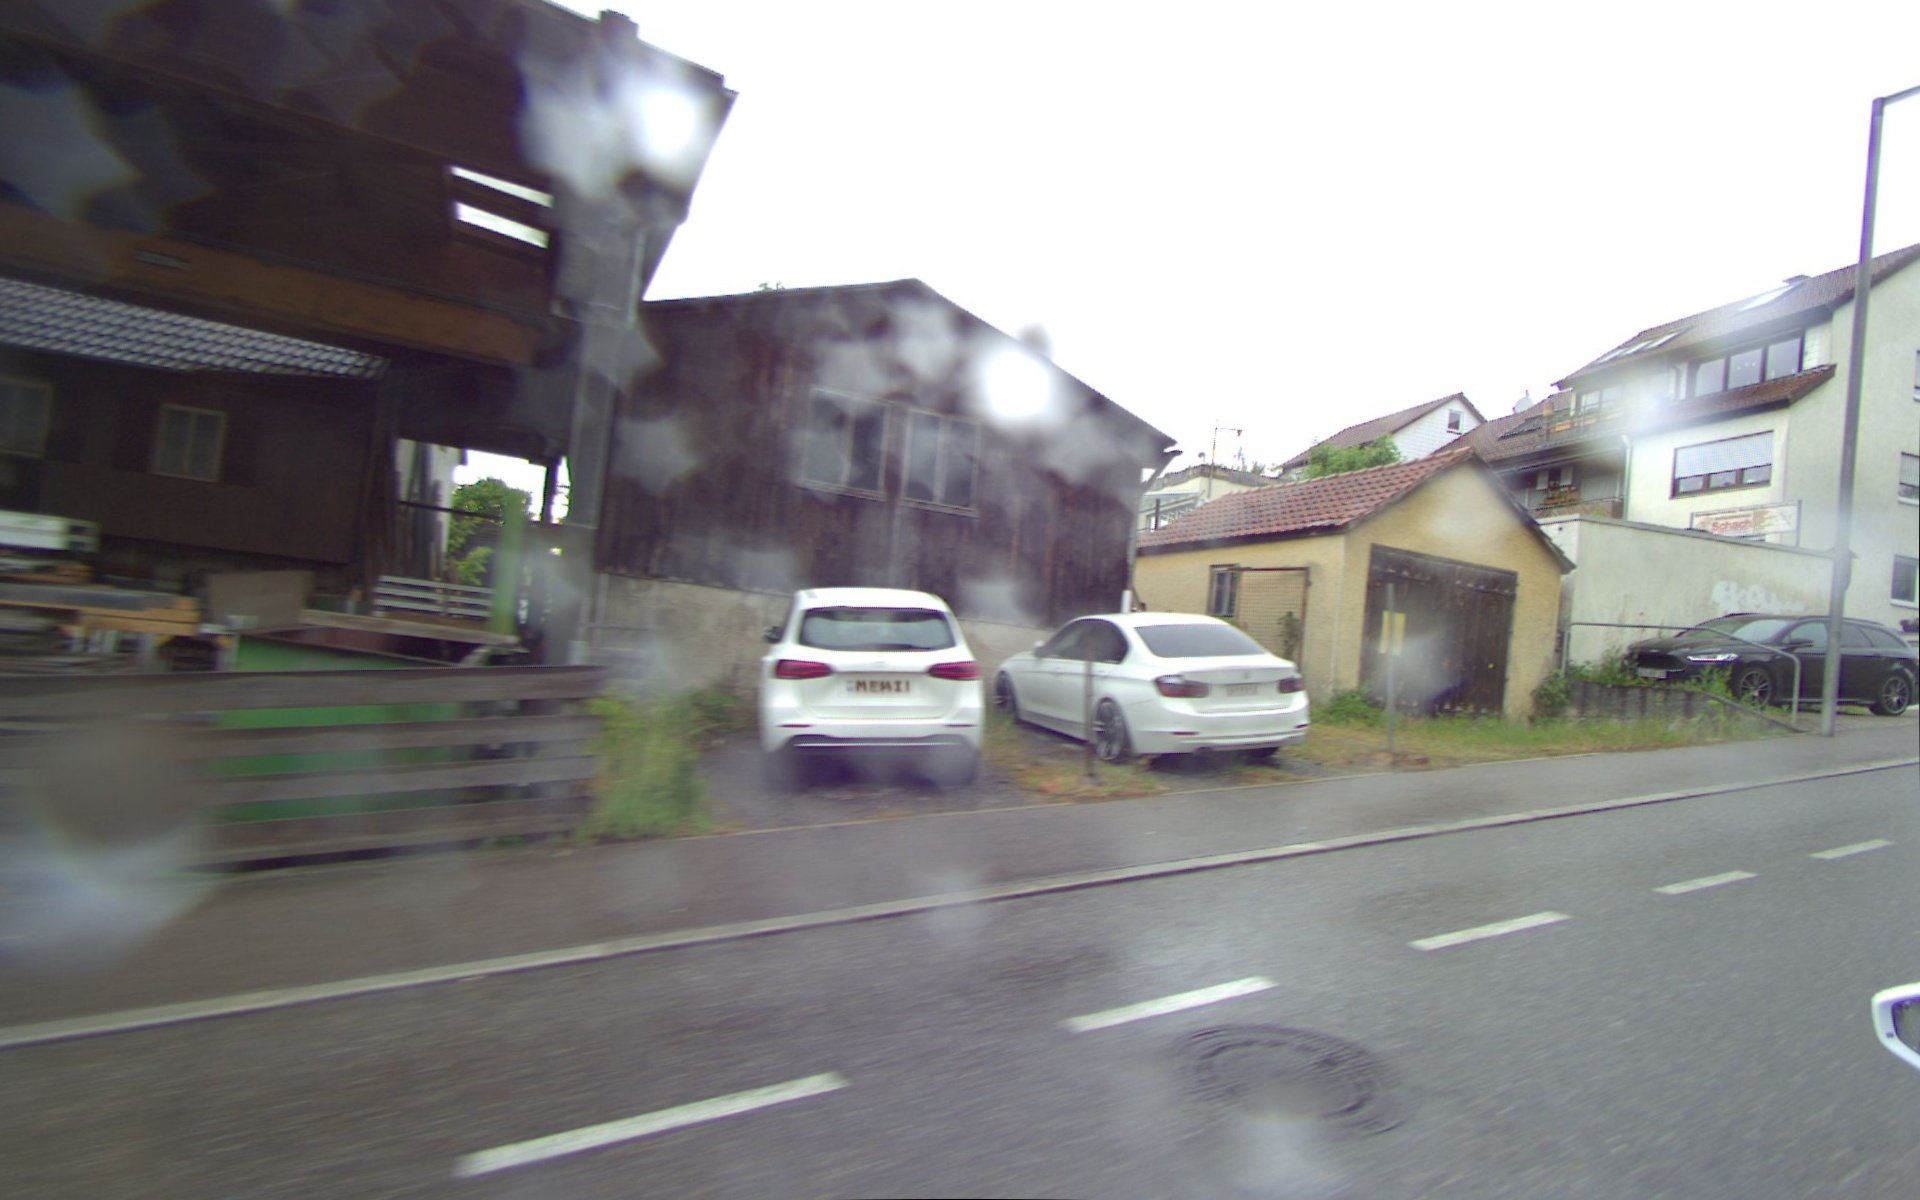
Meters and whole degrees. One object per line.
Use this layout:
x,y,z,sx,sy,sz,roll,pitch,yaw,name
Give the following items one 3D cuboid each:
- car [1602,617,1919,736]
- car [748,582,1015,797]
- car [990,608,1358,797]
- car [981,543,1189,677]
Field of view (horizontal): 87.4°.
12.930,1.155,15.878,4.881,1.681,1.974,1,-1,-16,car
-0.954,0.690,9.315,1.868,1.525,3.990,1,-1,-13,car
1.910,0.885,10.565,1.870,1.525,4.496,1,-1,-16,car
2.190,0.318,19.055,2.029,2.077,4.595,5,-5,-18,car
